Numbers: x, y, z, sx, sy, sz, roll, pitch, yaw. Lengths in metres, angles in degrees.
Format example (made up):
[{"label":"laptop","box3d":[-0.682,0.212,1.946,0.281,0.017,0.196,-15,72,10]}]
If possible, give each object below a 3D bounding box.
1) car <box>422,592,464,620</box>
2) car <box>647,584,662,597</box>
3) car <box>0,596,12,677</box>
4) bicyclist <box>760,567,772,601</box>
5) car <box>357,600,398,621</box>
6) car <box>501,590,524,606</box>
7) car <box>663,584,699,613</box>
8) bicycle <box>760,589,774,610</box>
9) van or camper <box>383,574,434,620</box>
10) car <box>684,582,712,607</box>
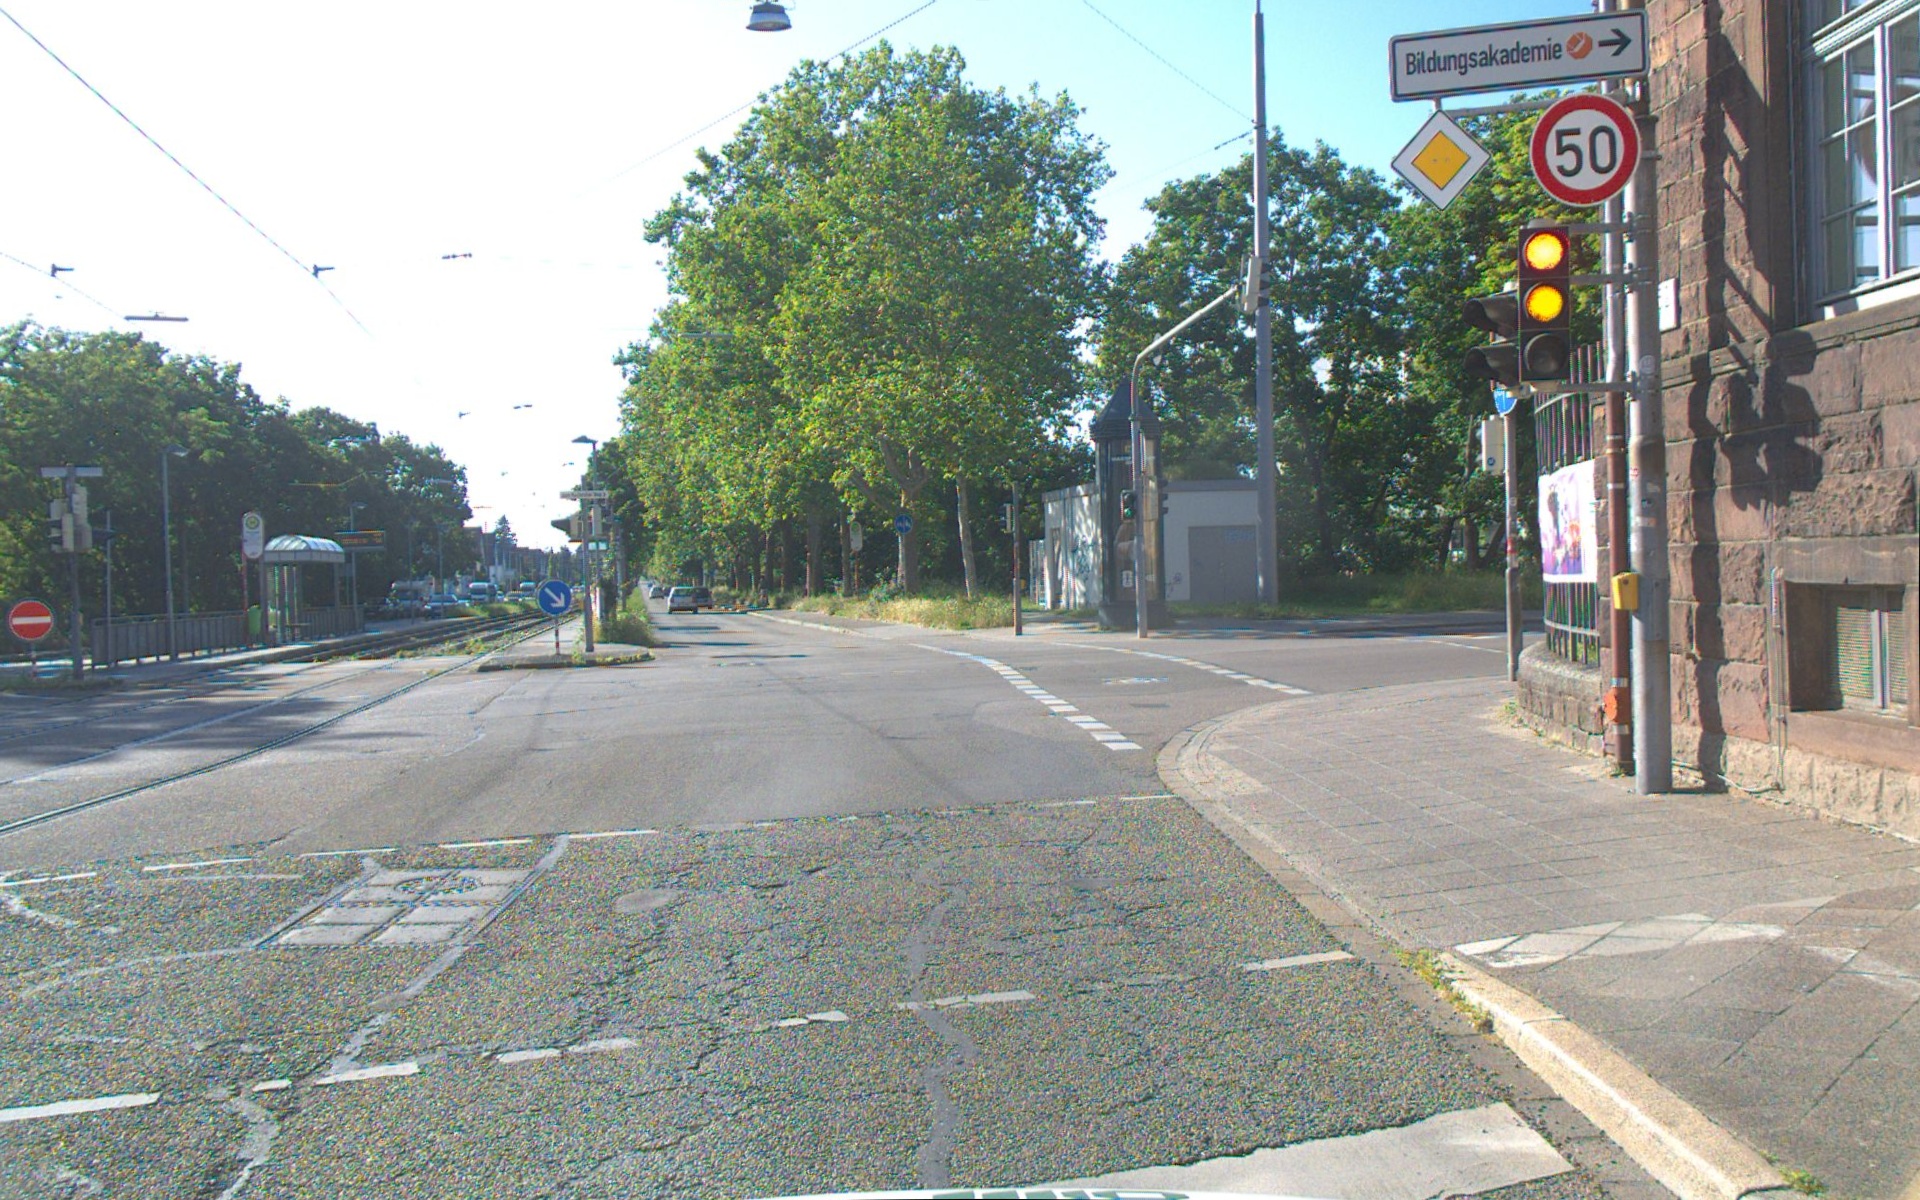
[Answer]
[{"label":"car","box3d":[-32.460,0.360,103.932,1.885,1.594,3.991,-2,1,-9]},{"label":"car","box3d":[-37.829,-1.183,204.795,1.720,1.632,3.570,-2,1,-12]},{"label":"car","box3d":[-21.824,0.833,34.563,1.959,1.797,5.016,-2,0,-12]},{"label":"bicyclist","box3d":[-10.353,-0.851,88.339,0.525,1.800,0.710,-2,1,-13]},{"label":"car","box3d":[-38.753,0.680,110.122,1.885,1.288,3.991,-2,1,-9]},{"label":"car","box3d":[-44.361,-0.201,164.058,1.959,1.495,4.363,-2,1,-12]},{"label":"car","box3d":[-15.239,-0.094,90.315,1.834,1.512,3.546,-1,0,-11]},{"label":"bicycle","box3d":[-10.311,-0.011,88.275,0.527,1.085,1.429,-2,1,-13]},{"label":"van or camper","box3d":[-40.804,-0.237,122.534,2.544,3.160,6.770,-2,1,-11]},{"label":"car","box3d":[-17.805,-0.379,112.238,1.719,1.632,3.740,-1,1,-11]}]
